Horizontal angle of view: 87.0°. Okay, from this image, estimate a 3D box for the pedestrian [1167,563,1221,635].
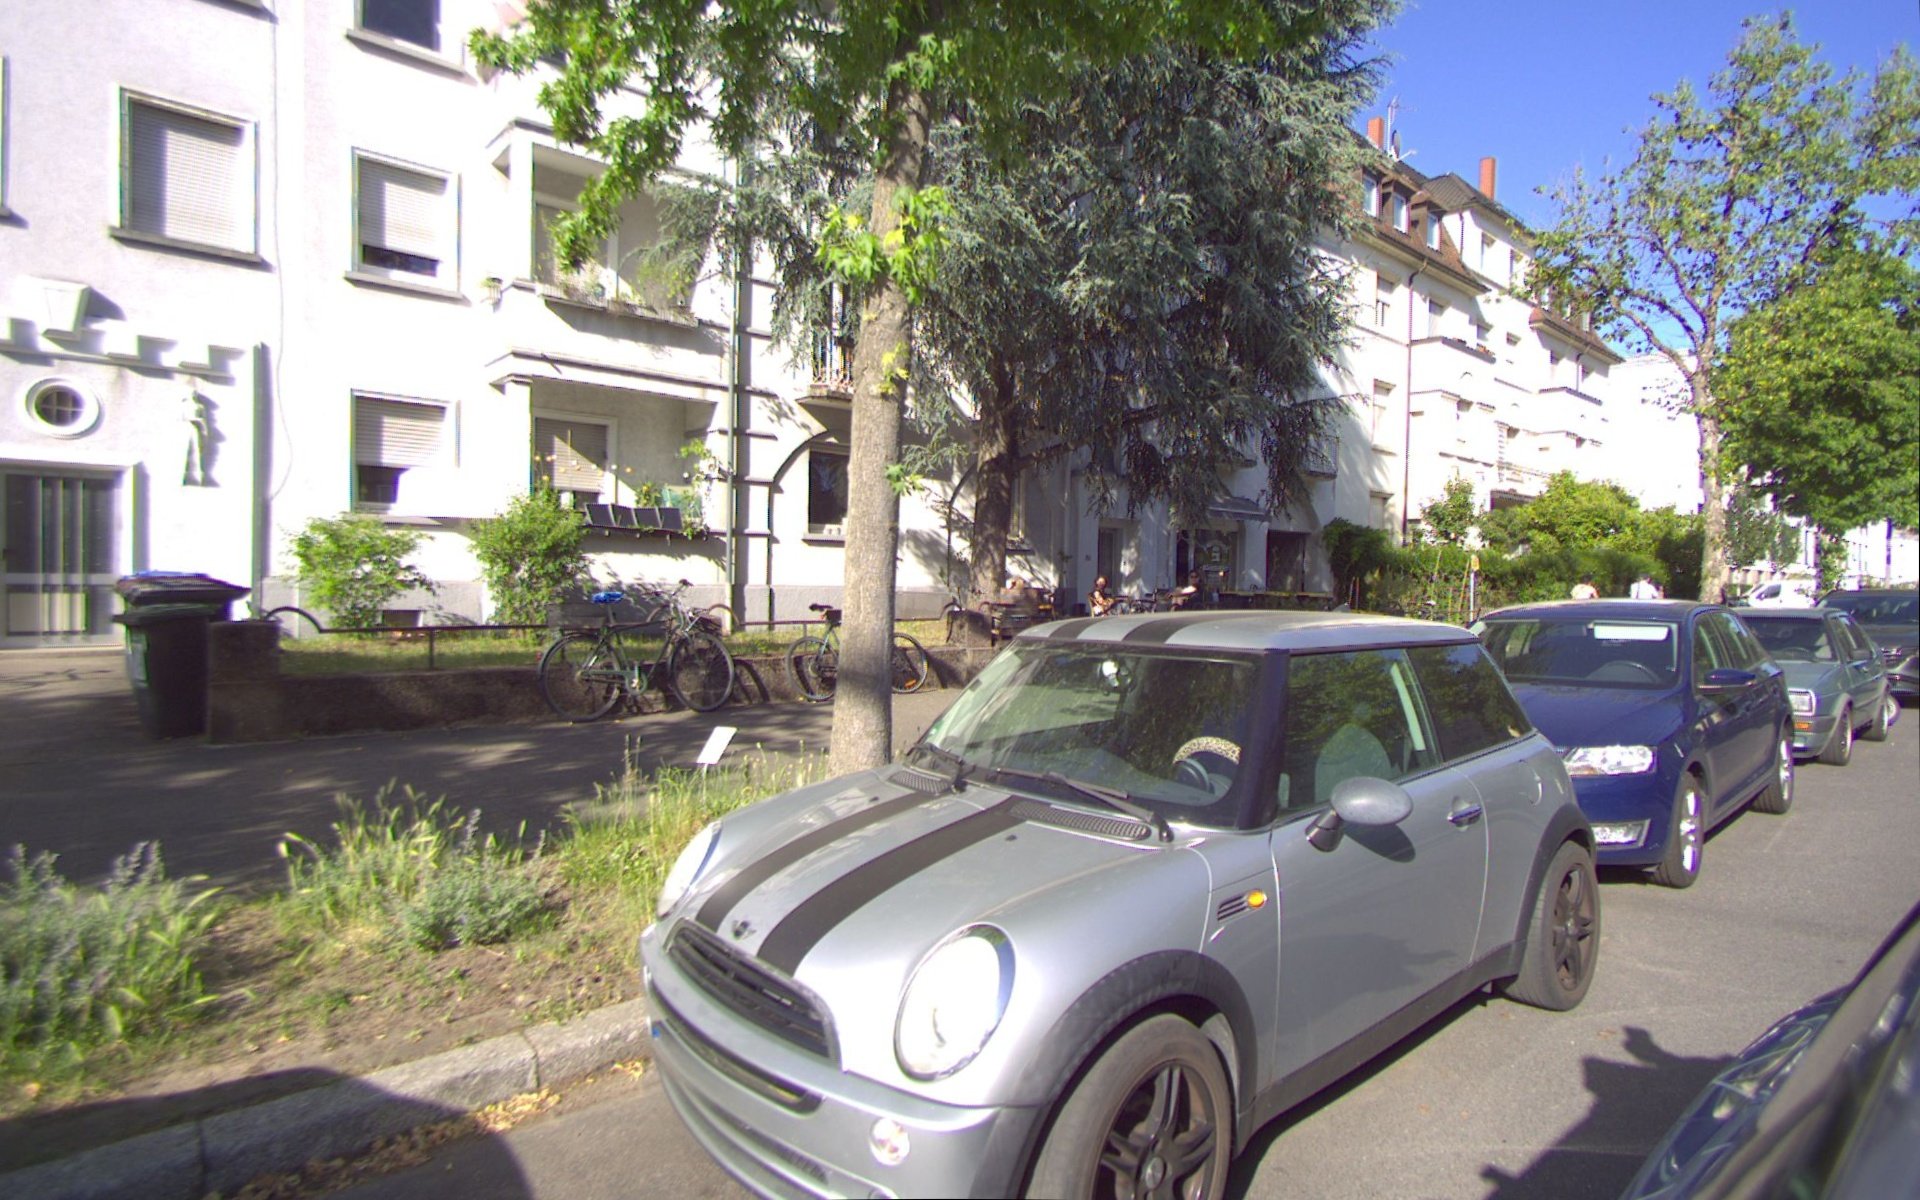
[{"bbox_3d":[3.849,-0.023,16.620,0.742,1.156,0.510,0,1,-40],"label":"pedestrian"}]

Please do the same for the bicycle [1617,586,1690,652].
[{"bbox_3d":[13.340,0.328,19.435,2.364,1.167,0.684,-1,3,-45],"label":"bicycle"}]

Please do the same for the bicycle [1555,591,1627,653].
[{"bbox_3d":[12.891,0.409,20.638,2.364,1.167,0.684,-1,3,-45],"label":"bicycle"}]

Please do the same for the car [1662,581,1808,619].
[{"bbox_3d":[34.126,-0.041,44.741,1.913,1.487,4.742,0,2,-26],"label":"car"}]

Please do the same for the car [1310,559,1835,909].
[{"bbox_3d":[4.203,0.582,6.602,4.364,1.560,1.695,0,1,-41],"label":"car"}]

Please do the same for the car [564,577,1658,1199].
[{"bbox_3d":[0.826,0.669,3.495,3.717,1.471,1.791,-1,1,-42],"label":"car"}]

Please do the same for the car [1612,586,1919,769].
[{"bbox_3d":[8.347,0.621,10.283,4.384,1.473,1.753,0,0,-41],"label":"car"}]

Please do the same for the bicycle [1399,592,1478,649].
[{"bbox_3d":[8.971,0.360,18.939,1.869,0.987,0.582,0,3,-40],"label":"bicycle"}]

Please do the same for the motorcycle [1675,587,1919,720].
[{"bbox_3d":[10.359,0.594,12.526,0.675,1.440,2.356,0,2,-41],"label":"motorcycle"}]

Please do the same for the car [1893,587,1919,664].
[{"bbox_3d":[21.005,0.495,21.330,3.902,1.552,1.656,0,0,-43],"label":"car"}]

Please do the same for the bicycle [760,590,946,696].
[{"bbox_3d":[-1.052,0.392,10.292,1.870,0.969,0.597,0,3,-41],"label":"bicycle"}]

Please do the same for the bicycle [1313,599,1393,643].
[{"bbox_3d":[7.576,0.390,19.551,0.462,0.766,1.367,0,3,-37],"label":"bicycle"}]

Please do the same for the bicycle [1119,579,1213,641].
[{"bbox_3d":[4.082,0.166,20.161,0.572,1.114,1.903,0,3,-37],"label":"bicycle"}]

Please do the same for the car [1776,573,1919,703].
[{"bbox_3d":[13.981,0.485,15.059,5.004,1.672,1.929,0,0,-40],"label":"car"}]

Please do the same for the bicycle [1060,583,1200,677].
[{"bbox_3d":[2.261,0.353,13.293,1.967,1.129,0.804,-1,2,-44],"label":"bicycle"}]

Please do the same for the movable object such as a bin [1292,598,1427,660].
[{"bbox_3d":[6.504,0.452,16.523,1.629,0.916,1.228,1,2,-21],"label":"movable object such as a bin"}]

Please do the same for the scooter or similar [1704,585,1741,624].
[{"bbox_3d":[24.206,0.155,32.138,1.181,1.199,0.403,1,1,-26],"label":"scooter or similar"}]

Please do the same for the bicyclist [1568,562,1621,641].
[{"bbox_3d":[13.003,0.013,20.733,1.005,1.572,0.677,0,2,-45],"label":"bicyclist"}]

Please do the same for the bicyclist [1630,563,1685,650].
[{"bbox_3d":[13.502,0.112,19.579,0.907,1.629,0.677,0,2,-45],"label":"bicyclist"}]

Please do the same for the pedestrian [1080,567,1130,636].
[{"bbox_3d":[2.511,0.012,17.532,0.743,1.156,0.510,0,1,-43],"label":"pedestrian"}]

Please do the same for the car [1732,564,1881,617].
[{"bbox_3d":[40.715,-0.483,48.847,5.006,2.334,2.215,2,2,26],"label":"car"}]

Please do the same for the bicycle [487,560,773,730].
[{"bbox_3d":[-2.757,0.314,8.656,0.839,1.273,2.195,1,2,45],"label":"bicycle"}]

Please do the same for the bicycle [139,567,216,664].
[{"bbox_3d":[-9.230,0.154,11.917,1.580,0.983,0.468,7,5,43],"label":"bicycle"}]
